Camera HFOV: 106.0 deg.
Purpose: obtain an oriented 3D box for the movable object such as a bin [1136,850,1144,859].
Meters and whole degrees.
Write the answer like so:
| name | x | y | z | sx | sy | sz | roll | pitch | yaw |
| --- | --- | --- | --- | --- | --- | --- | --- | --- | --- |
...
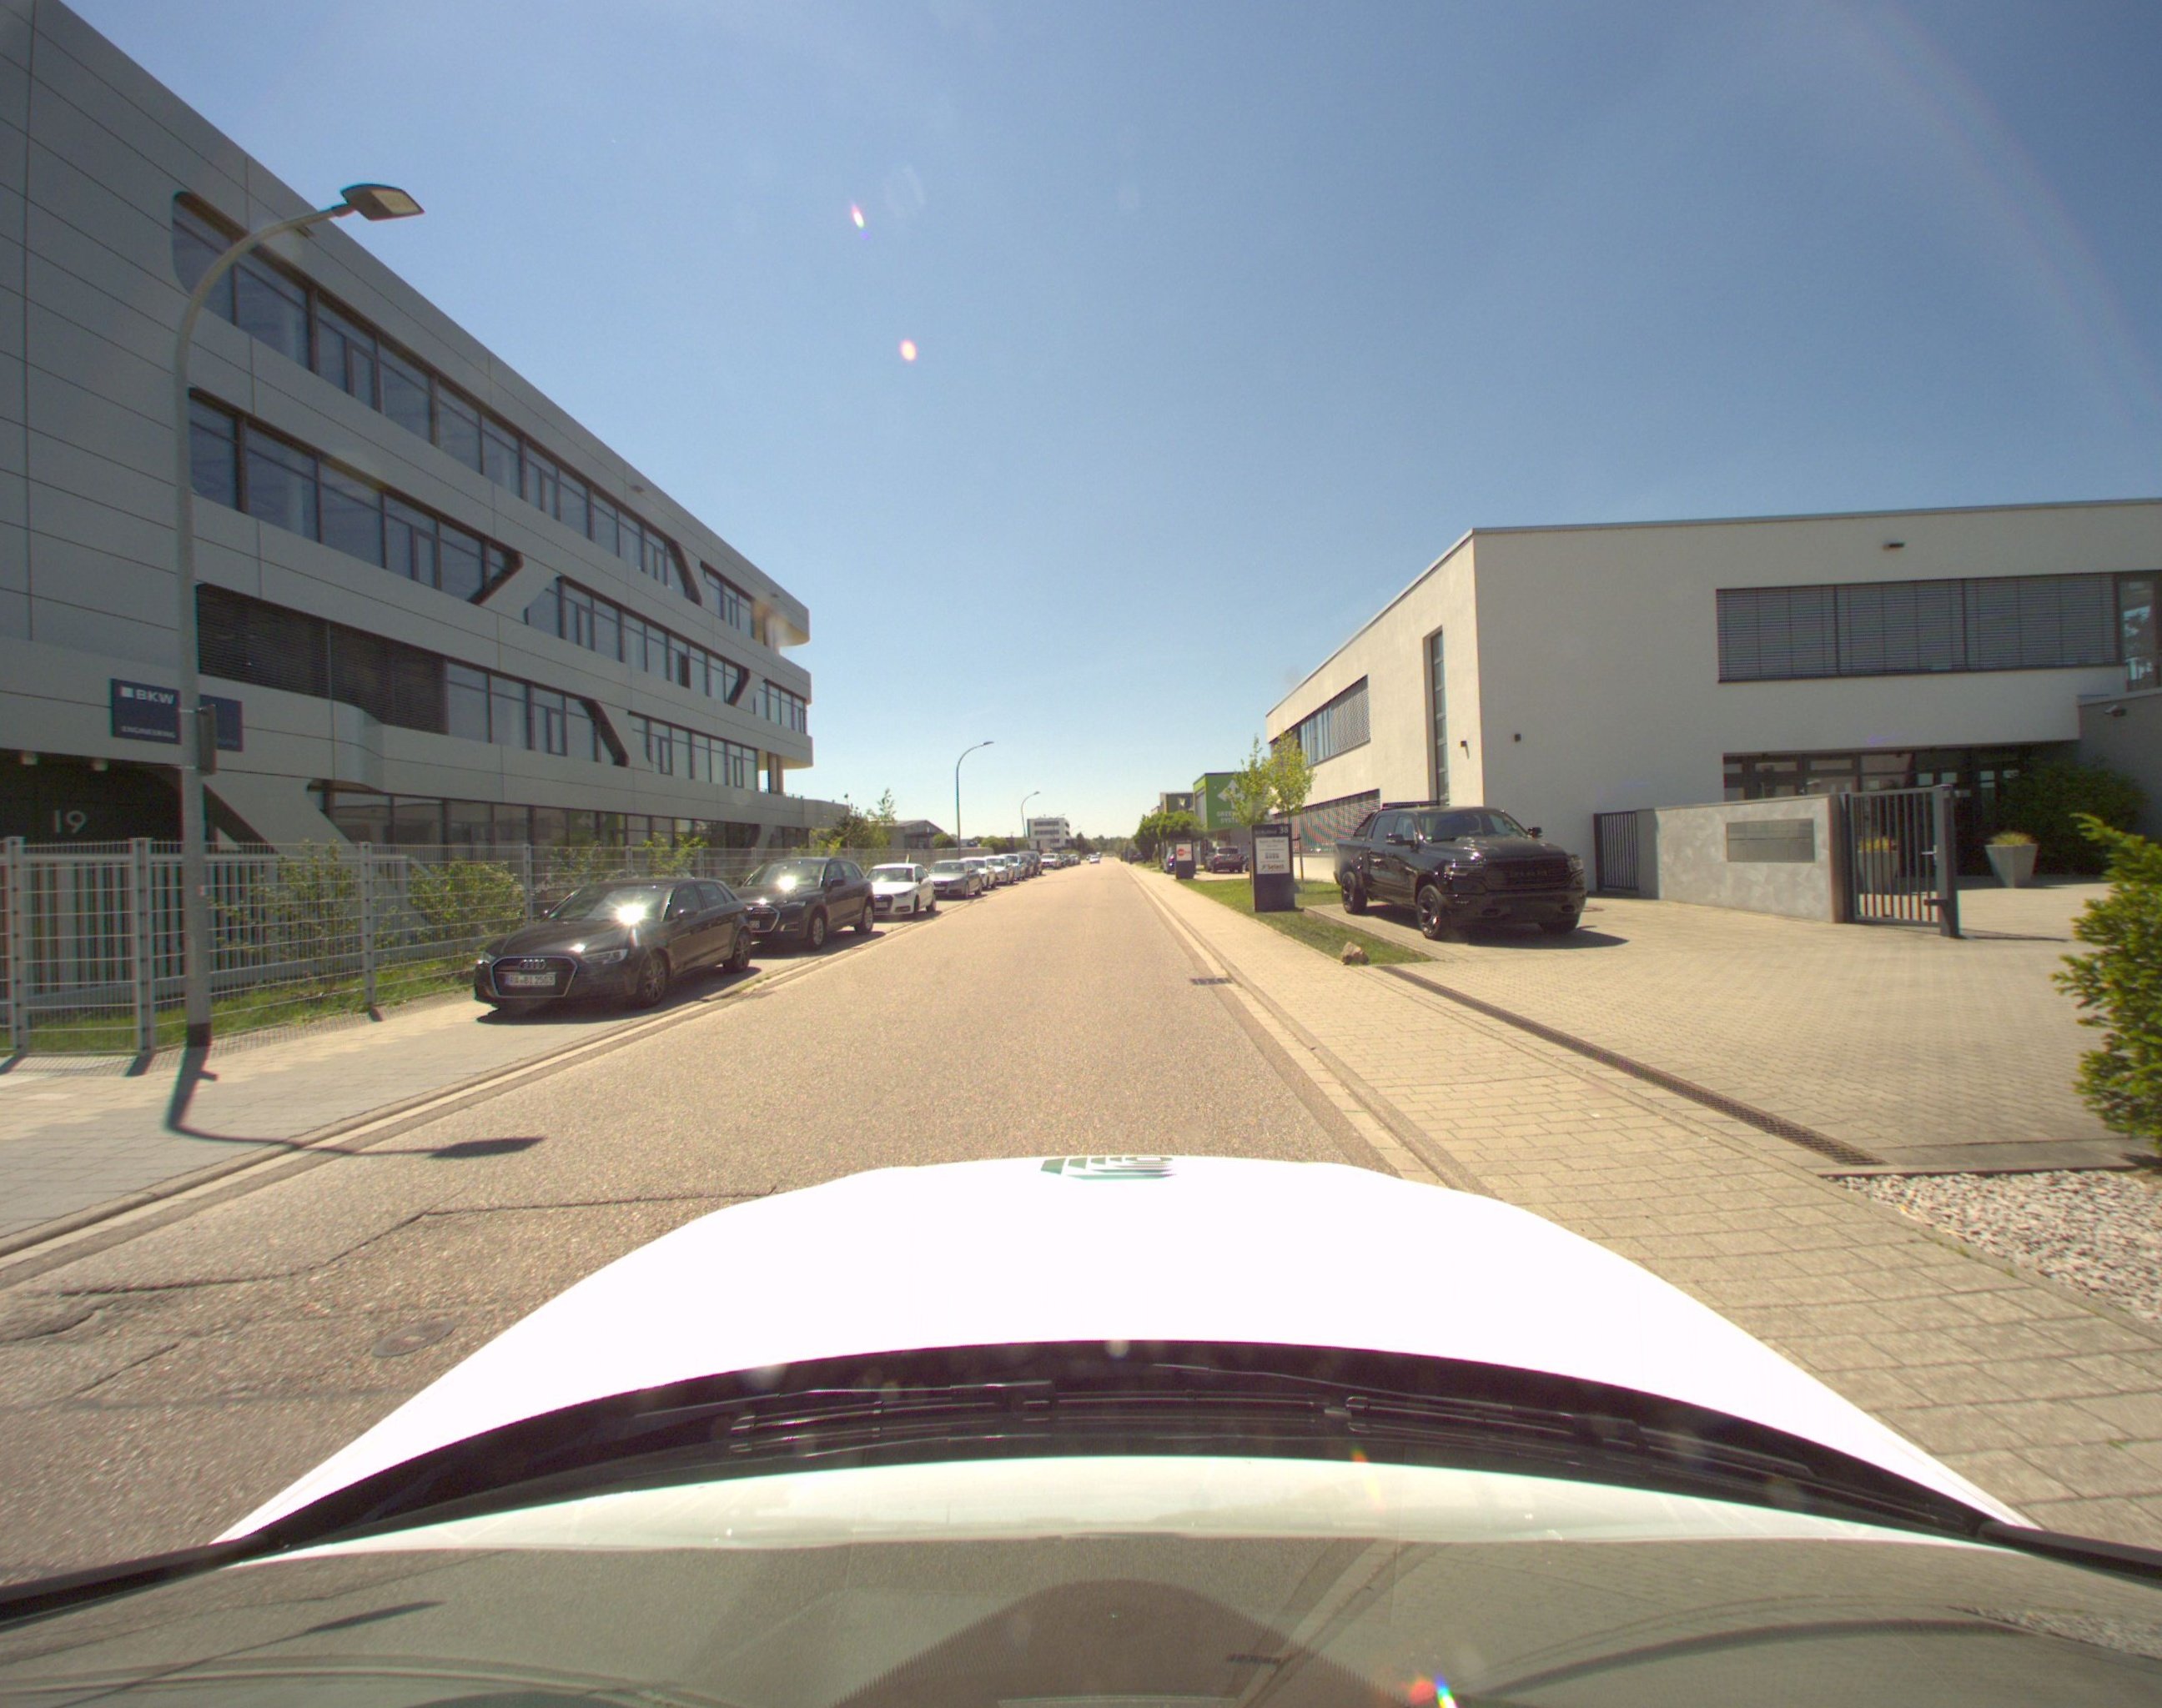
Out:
| name | x | y | z | sx | sy | sz | roll | pitch | yaw |
| --- | --- | --- | --- | --- | --- | --- | --- | --- | --- |
| movable object such as a bin | 10.611 | 0.080 | 145.602 | 1.329 | 1.459 | 0.949 | -3 | 0 | 1 |

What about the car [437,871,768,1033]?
| name | x | y | z | sx | sy | sz | roll | pitch | yaw |
| --- | --- | --- | --- | --- | --- | --- | --- | --- | --- |
| car | -5.758 | 1.058 | 10.527 | 1.764 | 1.466 | 4.185 | -2 | 1 | 0 |

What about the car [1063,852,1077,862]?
| name | x | y | z | sx | sy | sz | roll | pitch | yaw |
| --- | --- | --- | --- | --- | --- | --- | --- | --- | --- |
| car | -1.665 | 0.485 | 120.860 | 1.850 | 1.481 | 4.231 | -1 | 0 | 2 |

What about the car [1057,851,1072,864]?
| name | x | y | z | sx | sy | sz | roll | pitch | yaw |
| --- | --- | --- | --- | --- | --- | --- | --- | --- | --- |
| car | -2.079 | 0.494 | 104.859 | 1.784 | 1.607 | 4.463 | -1 | 0 | 1 |

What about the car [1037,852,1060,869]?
| name | x | y | z | sx | sy | sz | roll | pitch | yaw |
| --- | --- | --- | --- | --- | --- | --- | --- | --- | --- |
| car | -3.109 | 0.582 | 78.396 | 1.779 | 1.542 | 4.369 | -1 | 0 | 4 |

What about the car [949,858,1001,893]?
| name | x | y | z | sx | sy | sz | roll | pitch | yaw |
| --- | --- | --- | --- | --- | --- | --- | --- | --- | --- |
| car | -4.810 | 0.959 | 37.517 | 1.697 | 1.443 | 4.441 | -1 | 0 | 1 |

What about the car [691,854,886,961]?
| name | x | y | z | sx | sy | sz | roll | pitch | yaw |
| --- | --- | --- | --- | --- | --- | --- | --- | --- | --- |
| car | -5.440 | 0.884 | 15.953 | 1.762 | 1.651 | 4.856 | -2 | 1 | 4 |

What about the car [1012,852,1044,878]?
| name | x | y | z | sx | sy | sz | roll | pitch | yaw |
| --- | --- | --- | --- | --- | --- | --- | --- | --- | --- |
| car | -3.737 | 0.739 | 58.211 | 1.796 | 1.719 | 4.624 | -1 | 0 | 2 |

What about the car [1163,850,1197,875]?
| name | x | y | z | sx | sy | sz | roll | pitch | yaw |
| --- | --- | --- | --- | --- | --- | --- | --- | --- | --- |
| car | 5.976 | 0.479 | 49.569 | 1.686 | 1.428 | 4.248 | -1 | 0 | 2 |

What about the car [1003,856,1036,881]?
| name | x | y | z | sx | sy | sz | roll | pitch | yaw |
| --- | --- | --- | --- | --- | --- | --- | --- | --- | --- |
| car | -4.000 | 0.907 | 53.086 | 1.628 | 1.500 | 3.974 | -1 | 0 | 3 |

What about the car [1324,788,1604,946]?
| name | x | y | z | sx | sy | sz | roll | pitch | yaw |
| --- | --- | --- | --- | --- | --- | --- | --- | --- | --- |
| car | 5.969 | 0.049 | 13.732 | 1.987 | 2.013 | 5.801 | -3 | 2 | 0 |

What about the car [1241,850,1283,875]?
| name | x | y | z | sx | sy | sz | roll | pitch | yaw |
| --- | --- | --- | --- | --- | --- | --- | --- | --- | --- |
| car | 10.808 | 0.480 | 48.741 | 1.716 | 1.449 | 4.024 | -1 | 0 | 2 |

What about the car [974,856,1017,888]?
| name | x | y | z | sx | sy | sz | roll | pitch | yaw |
| --- | --- | --- | --- | --- | --- | --- | --- | --- | --- |
| car | -4.430 | 0.898 | 42.881 | 1.697 | 1.536 | 4.573 | -1 | 0 | 1 |

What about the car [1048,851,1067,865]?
| name | x | y | z | sx | sy | sz | roll | pitch | yaw |
| --- | --- | --- | --- | --- | --- | --- | --- | --- | --- |
| car | -2.614 | 0.427 | 91.433 | 1.756 | 1.517 | 4.381 | -1 | 0 | 1 |

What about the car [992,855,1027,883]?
| name | x | y | z | sx | sy | sz | roll | pitch | yaw |
| --- | --- | --- | --- | --- | --- | --- | --- | --- | --- |
| car | -4.205 | 0.868 | 48.415 | 1.629 | 1.536 | 3.659 | -1 | 0 | 1 |

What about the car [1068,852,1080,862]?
| name | x | y | z | sx | sy | sz | roll | pitch | yaw |
| --- | --- | --- | --- | --- | --- | --- | --- | --- | --- |
| car | -1.094 | 0.447 | 129.980 | 1.763 | 1.592 | 4.360 | -1 | 0 | 1 |

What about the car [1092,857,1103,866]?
| name | x | y | z | sx | sy | sz | roll | pitch | yaw |
| --- | --- | --- | --- | --- | --- | --- | --- | --- | --- |
| car | 2.896 | 1.295 | 142.391 | 1.698 | 1.411 | 4.786 | -4 | 0 | 2 |

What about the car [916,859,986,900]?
| name | x | y | z | sx | sy | sz | roll | pitch | yaw |
| --- | --- | --- | --- | --- | --- | --- | --- | --- | --- |
| car | -4.827 | 0.917 | 30.856 | 1.677 | 1.386 | 4.642 | -2 | -1 | 3 |

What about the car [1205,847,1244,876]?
| name | x | y | z | sx | sy | sz | roll | pitch | yaw |
| --- | --- | --- | --- | --- | --- | --- | --- | --- | --- |
| car | 8.635 | 0.409 | 49.193 | 1.716 | 1.633 | 4.024 | -1 | 0 | 2 |

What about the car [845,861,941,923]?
| name | x | y | z | sx | sy | sz | roll | pitch | yaw |
| --- | --- | --- | --- | --- | --- | --- | --- | --- | --- |
| car | -5.017 | 0.955 | 22.215 | 1.694 | 1.386 | 3.936 | -2 | 1 | -1 |
